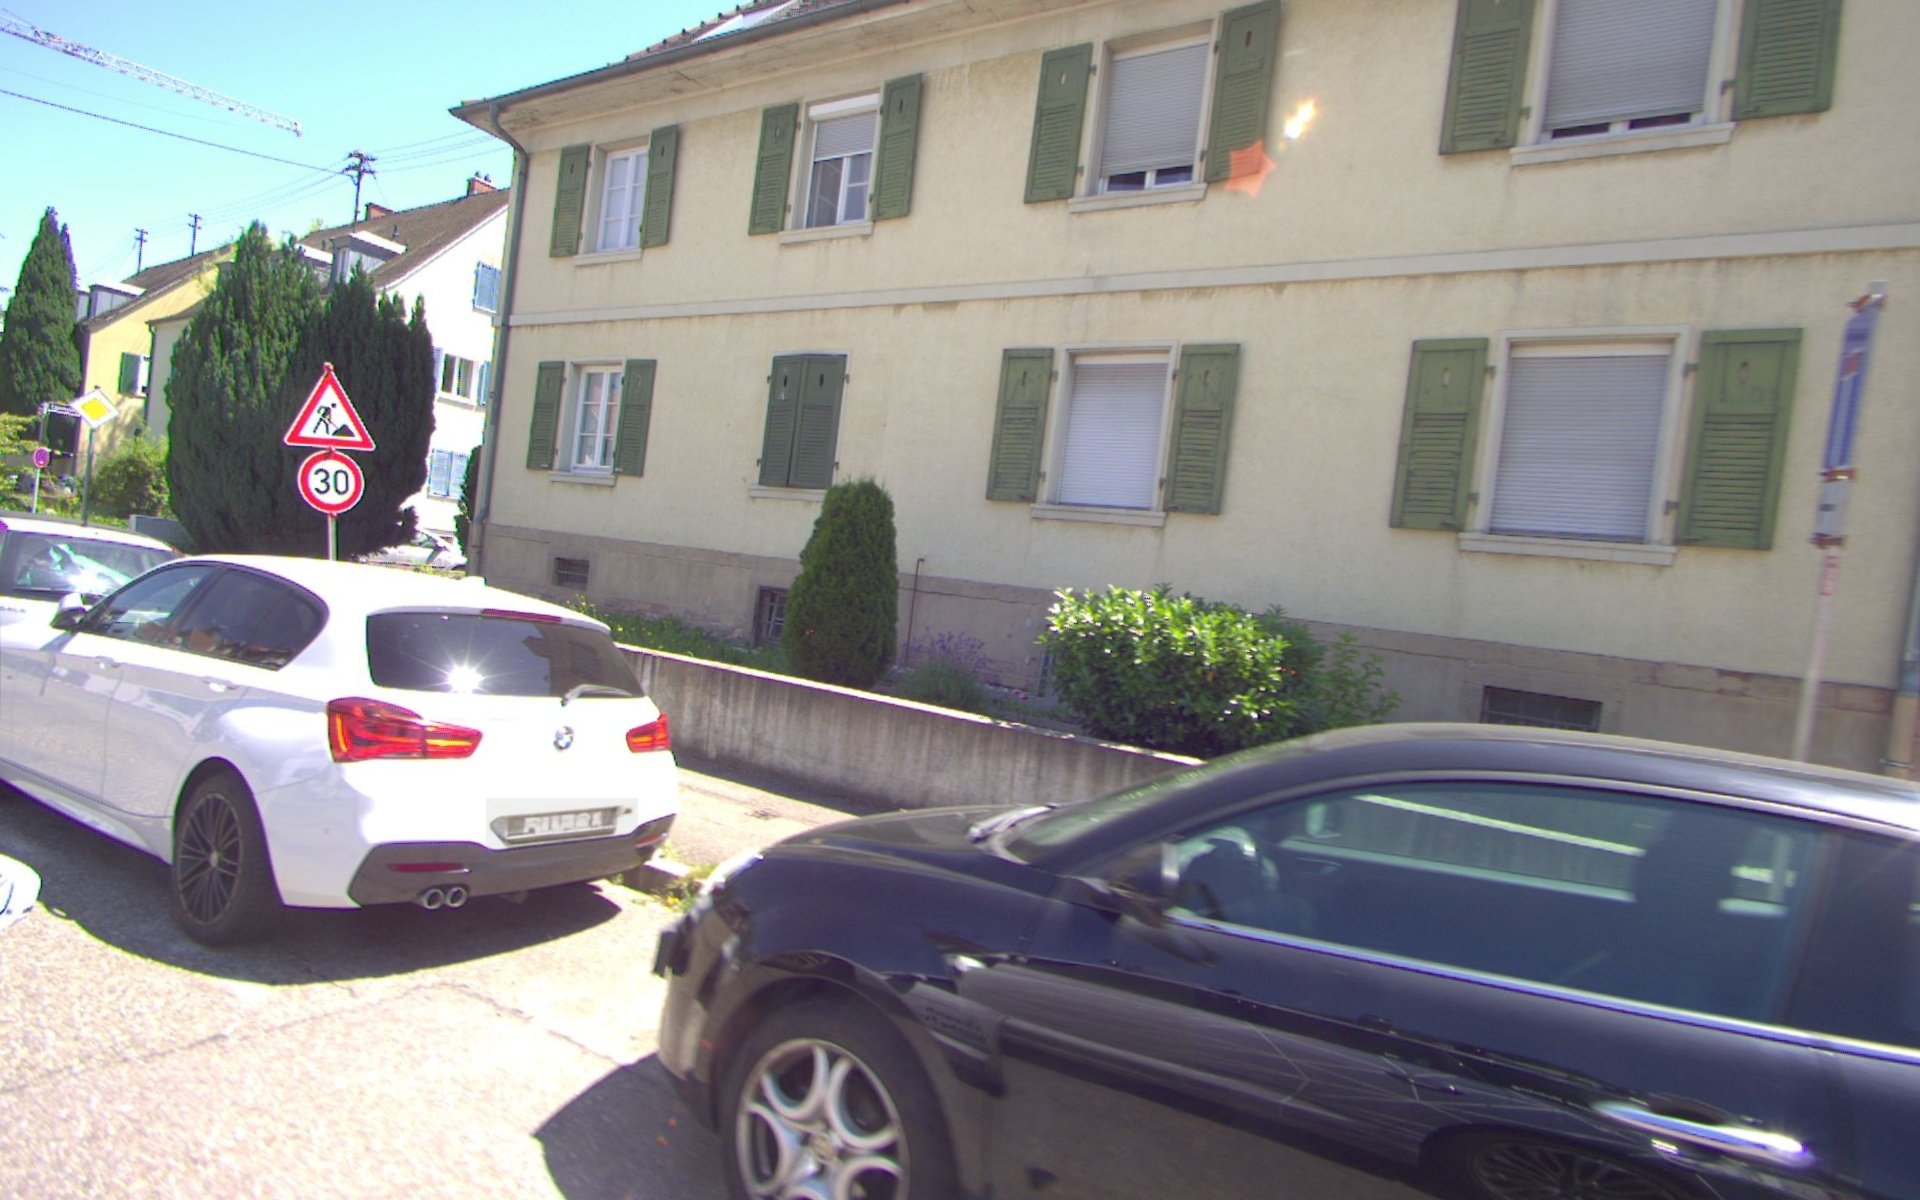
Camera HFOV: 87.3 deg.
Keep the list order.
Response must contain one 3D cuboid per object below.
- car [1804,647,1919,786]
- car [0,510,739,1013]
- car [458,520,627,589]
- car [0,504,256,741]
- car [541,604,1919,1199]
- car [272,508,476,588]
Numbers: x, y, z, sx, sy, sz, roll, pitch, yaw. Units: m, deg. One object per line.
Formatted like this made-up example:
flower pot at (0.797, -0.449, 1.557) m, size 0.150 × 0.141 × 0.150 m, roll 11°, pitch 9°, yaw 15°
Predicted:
car at (12.128, 1.447, 12.536) m, size 1.770 × 1.411 × 3.986 m, roll 8°, pitch 3°, yaw 32°
car at (-3.209, 0.501, 4.920) m, size 3.933 × 1.451 × 1.671 m, roll 6°, pitch -3°, yaw 30°
car at (-10.152, -1.073, 24.630) m, size 1.587 × 1.473 × 3.495 m, roll 7°, pitch 5°, yaw 36°
car at (-7.436, 0.018, 7.755) m, size 3.932 × 1.482 × 1.671 m, roll 6°, pitch -3°, yaw 30°
car at (1.068, 0.984, 2.371) m, size 3.932 × 1.446 × 1.600 m, roll 6°, pitch -2°, yaw 30°
car at (-12.368, -1.069, 21.361) m, size 1.588 × 1.474 × 3.397 m, roll 7°, pitch 5°, yaw 38°
